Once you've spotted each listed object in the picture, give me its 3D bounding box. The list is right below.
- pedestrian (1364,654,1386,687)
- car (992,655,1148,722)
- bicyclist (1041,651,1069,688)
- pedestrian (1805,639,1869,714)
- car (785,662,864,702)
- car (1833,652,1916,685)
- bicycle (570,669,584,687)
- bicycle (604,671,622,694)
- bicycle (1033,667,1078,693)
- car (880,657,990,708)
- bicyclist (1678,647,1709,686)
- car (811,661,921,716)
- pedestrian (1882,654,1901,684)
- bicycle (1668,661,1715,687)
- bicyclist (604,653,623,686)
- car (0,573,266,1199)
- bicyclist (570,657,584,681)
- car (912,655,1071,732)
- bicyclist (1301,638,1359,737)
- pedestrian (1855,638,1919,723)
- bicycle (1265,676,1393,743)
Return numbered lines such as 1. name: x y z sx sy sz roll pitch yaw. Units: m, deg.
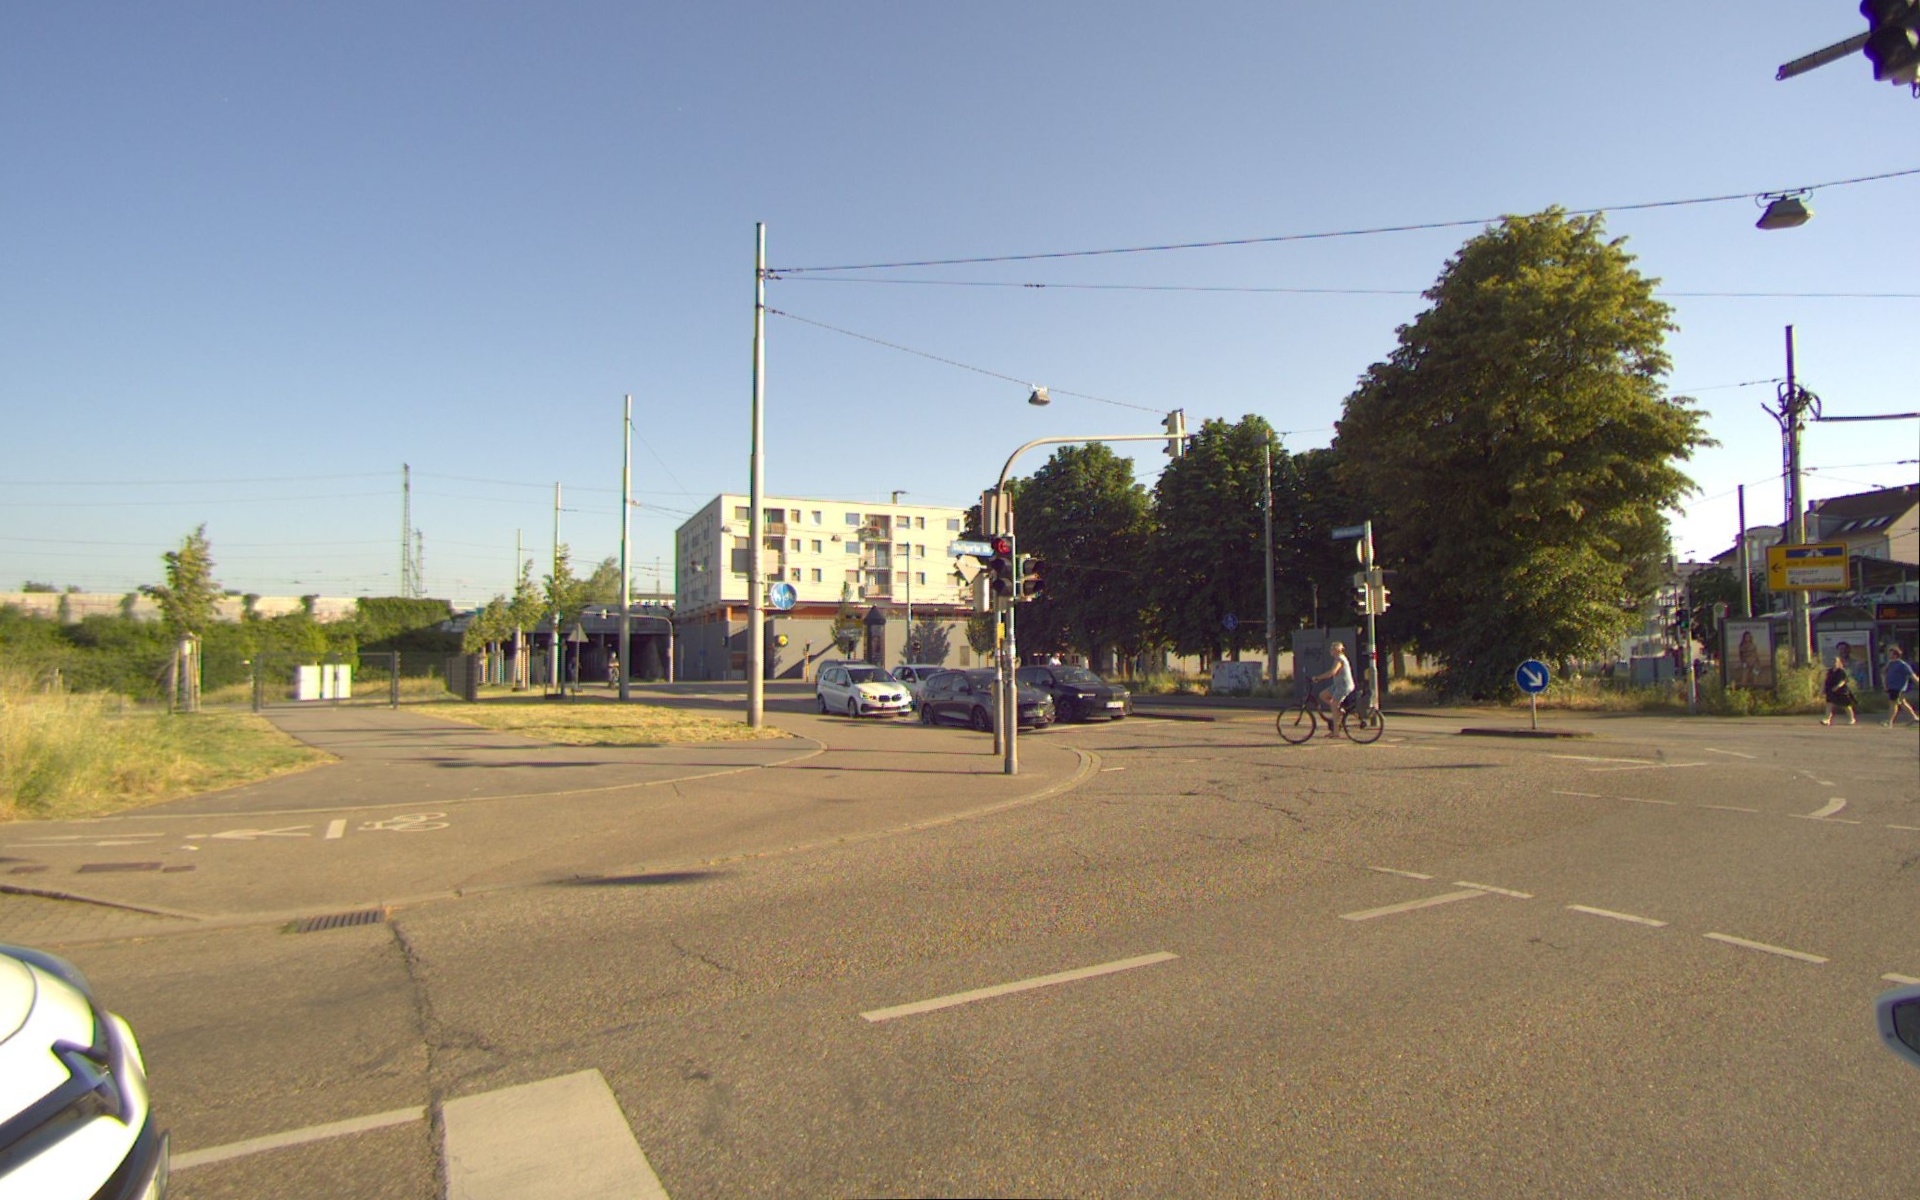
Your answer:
1. pedestrian: 24.693 4.190 59.806 0.679 1.896 0.938 1 -3 -29
2. car: 2.777 2.275 26.414 2.027 1.587 4.423 1 -4 -26
3. bicyclist: 4.305 3.158 45.519 0.708 1.650 1.030 2 -3 -40
4. pedestrian: 21.332 1.844 24.437 1.057 1.769 0.906 2 -4 -36
5. car: -5.791 3.432 42.457 1.975 1.587 4.426 1 -4 -27
6. car: 59.365 4.420 65.341 2.017 1.987 5.153 -4 -4 19
7. bicycle: -25.322 5.145 66.411 0.781 1.164 2.281 1 -4 -22
8. bicycle: -17.300 4.083 50.047 0.743 1.107 1.940 1 -4 -21
9. bicycle: 4.318 3.618 45.517 0.695 1.157 2.176 2 -4 -40
10. car: -0.932 2.721 33.660 1.975 1.587 4.426 1 -4 -27
11. bicyclist: 31.908 2.888 43.710 0.873 1.673 0.667 1 -3 -21
12. car: -3.008 2.696 31.222 1.975 1.587 4.246 1 -4 -27
13. pedestrian: 47.938 3.535 51.692 0.558 1.520 0.677 -2 -4 32
14. bicycle: 31.816 3.211 43.664 1.989 1.083 0.660 1 -3 -22
15. bicyclist: -17.279 3.452 50.072 0.866 1.646 0.968 1 -3 -22
16. car: -3.060 0.715 1.015 3.733 1.488 1.692 2 -4 -32
17. bicyclist: -25.352 4.535 66.511 0.839 1.567 1.017 1 -4 -21
18. car: 0.647 2.173 24.074 1.975 1.587 4.246 0 -3 -28
19. bicyclist: 6.261 1.465 17.048 0.840 1.626 0.777 -1 -3 17
20. pedestrian: 21.896 1.887 23.674 1.057 1.950 0.906 2 -4 -36
21. bicycle: 6.217 1.844 17.037 1.979 1.083 0.664 -1 -3 17
